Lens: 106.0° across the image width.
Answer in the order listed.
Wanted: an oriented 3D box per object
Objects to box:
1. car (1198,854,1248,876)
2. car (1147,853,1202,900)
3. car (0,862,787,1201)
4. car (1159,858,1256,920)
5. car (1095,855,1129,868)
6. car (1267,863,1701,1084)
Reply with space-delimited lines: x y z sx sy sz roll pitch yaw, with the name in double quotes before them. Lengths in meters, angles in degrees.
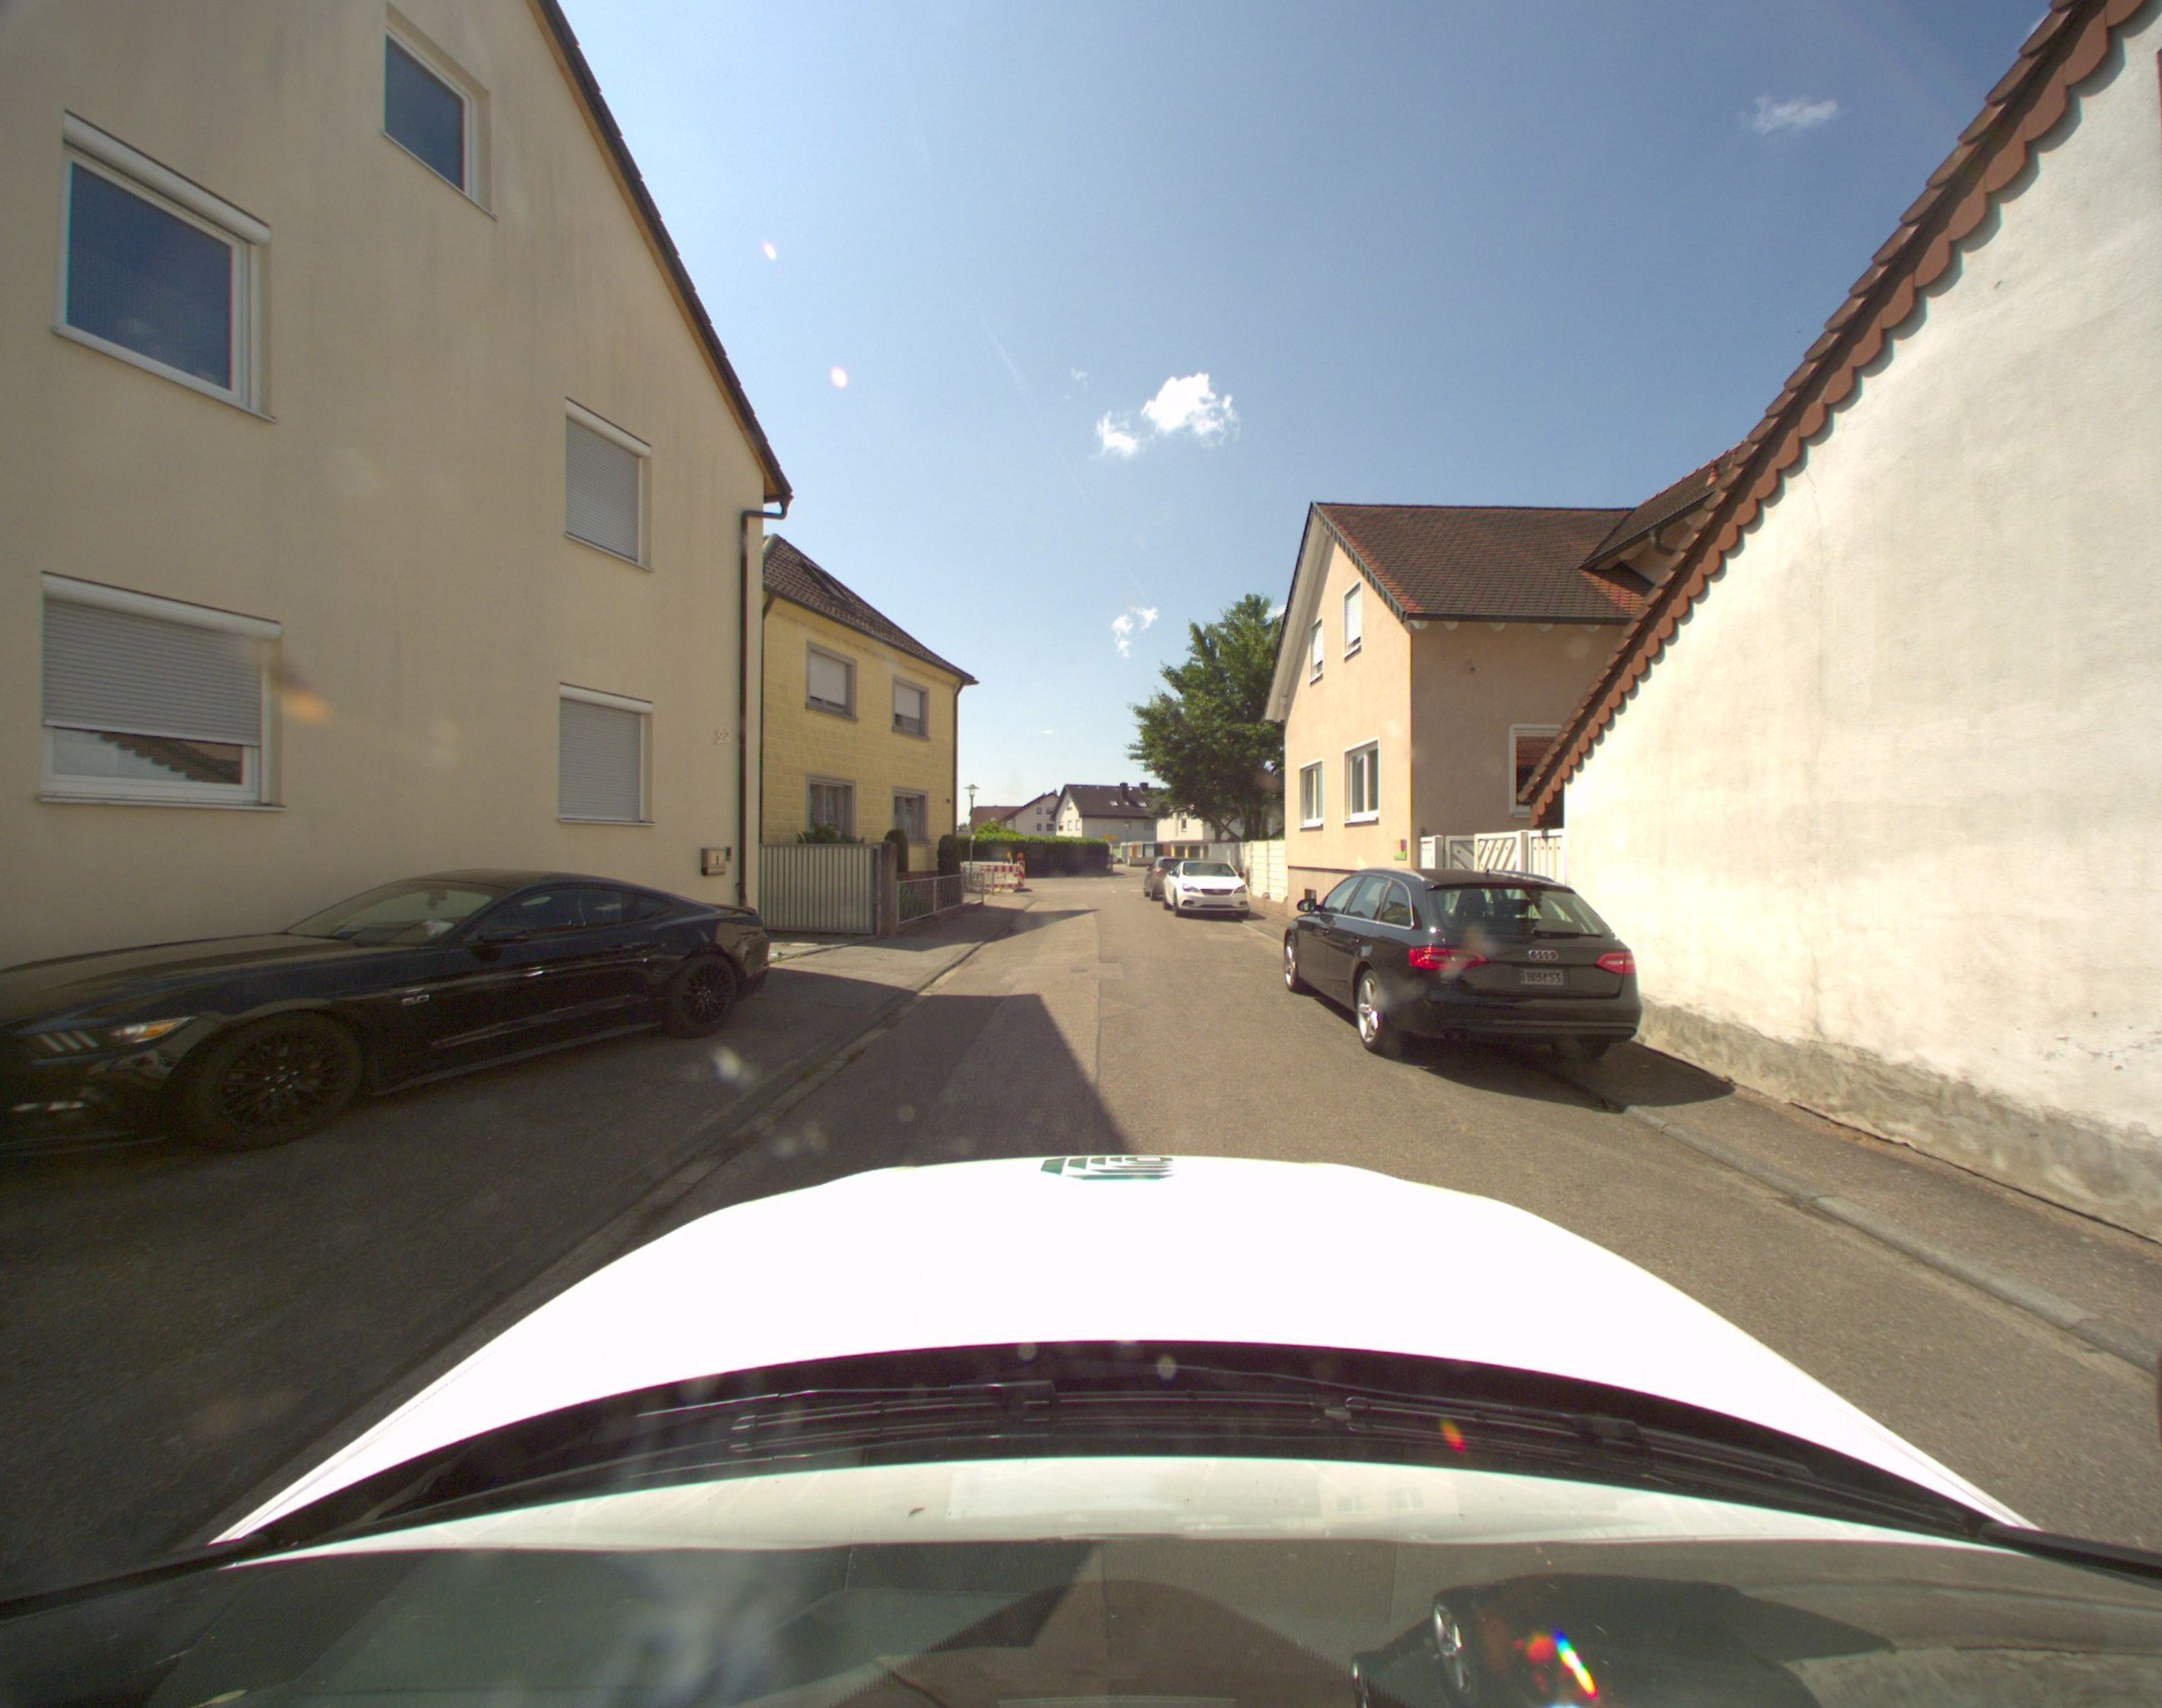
"car" 10.750 0.819 61.817 1.805 1.563 4.111 1 0 -23
"car" 3.215 0.743 28.691 1.705 1.532 4.039 1 0 3
"car" -4.336 0.767 5.742 1.755 1.349 4.491 1 -1 19
"car" 3.249 0.854 21.798 1.889 1.428 4.737 1 0 1
"car" 3.596 0.845 94.555 3.613 1.408 1.771 1 0 -22
"car" 3.186 0.806 7.710 1.888 1.365 4.739 1 0 2
